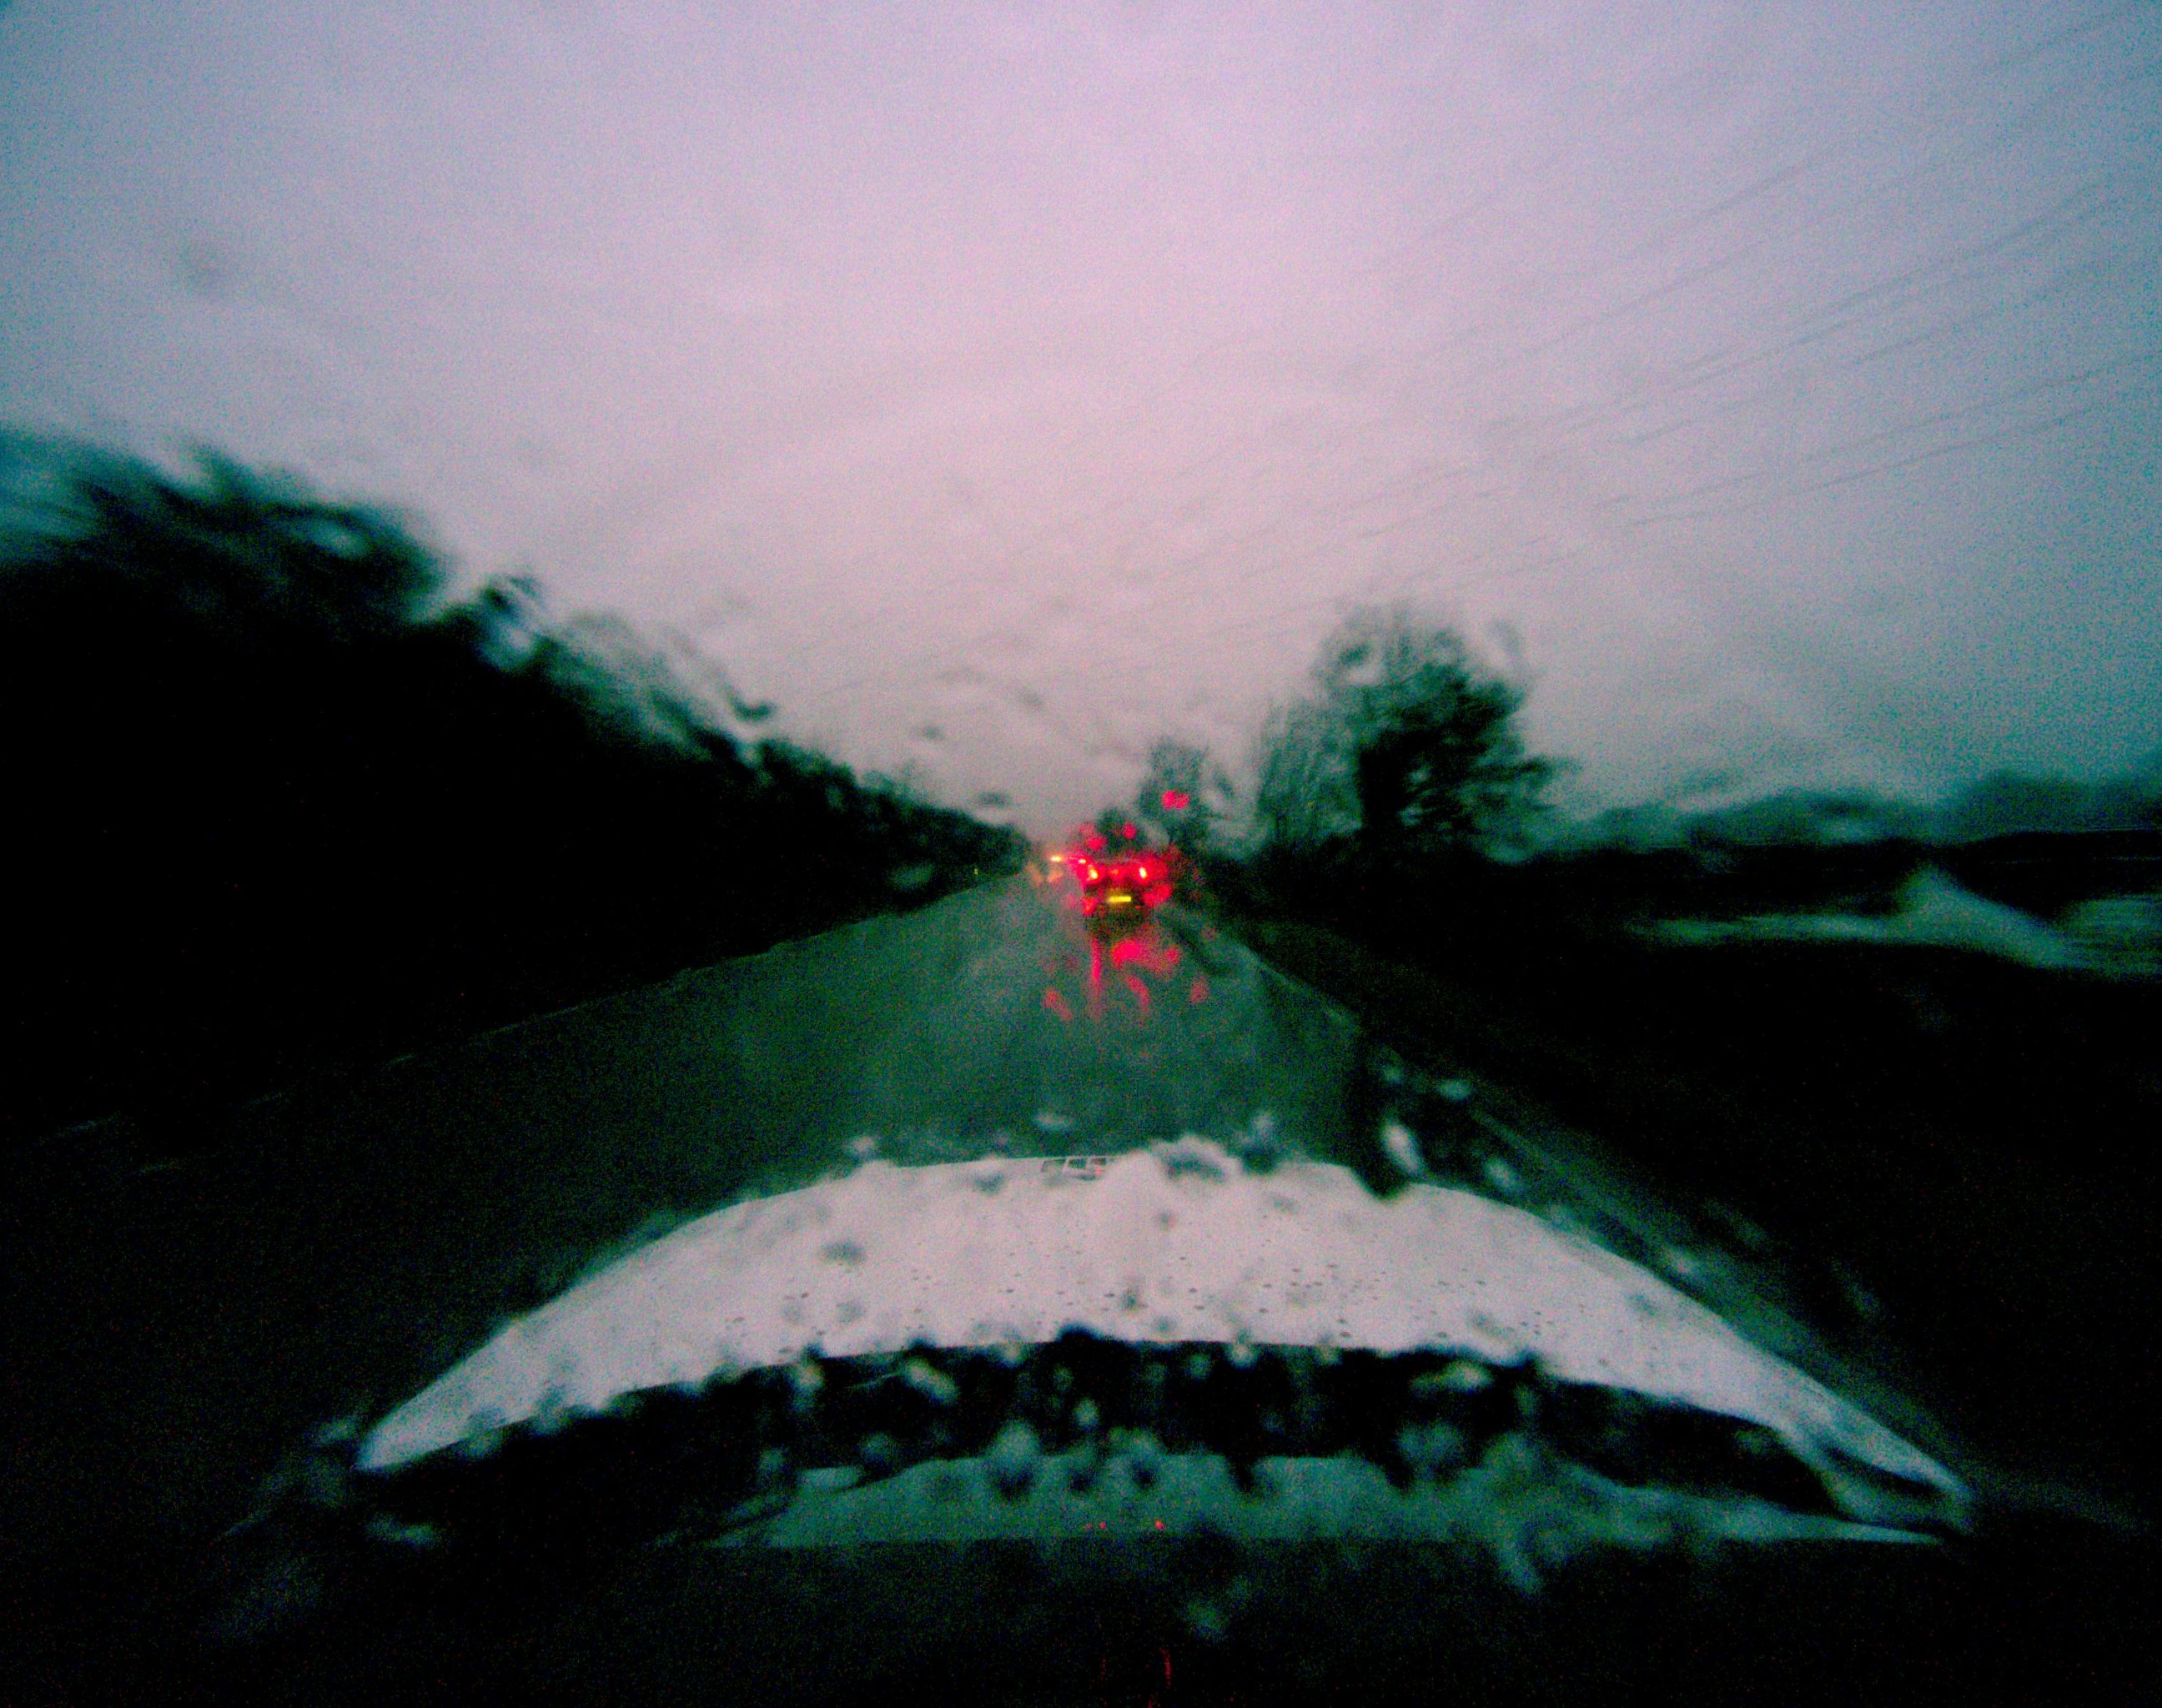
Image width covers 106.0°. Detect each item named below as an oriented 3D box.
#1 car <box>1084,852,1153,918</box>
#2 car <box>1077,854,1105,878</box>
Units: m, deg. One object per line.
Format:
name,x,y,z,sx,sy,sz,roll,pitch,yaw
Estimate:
car,0.977,0.726,21.016,1.596,1.522,3.872,-1,0,3
car,0.634,0.720,49.612,1.541,1.396,3.871,-1,0,2
